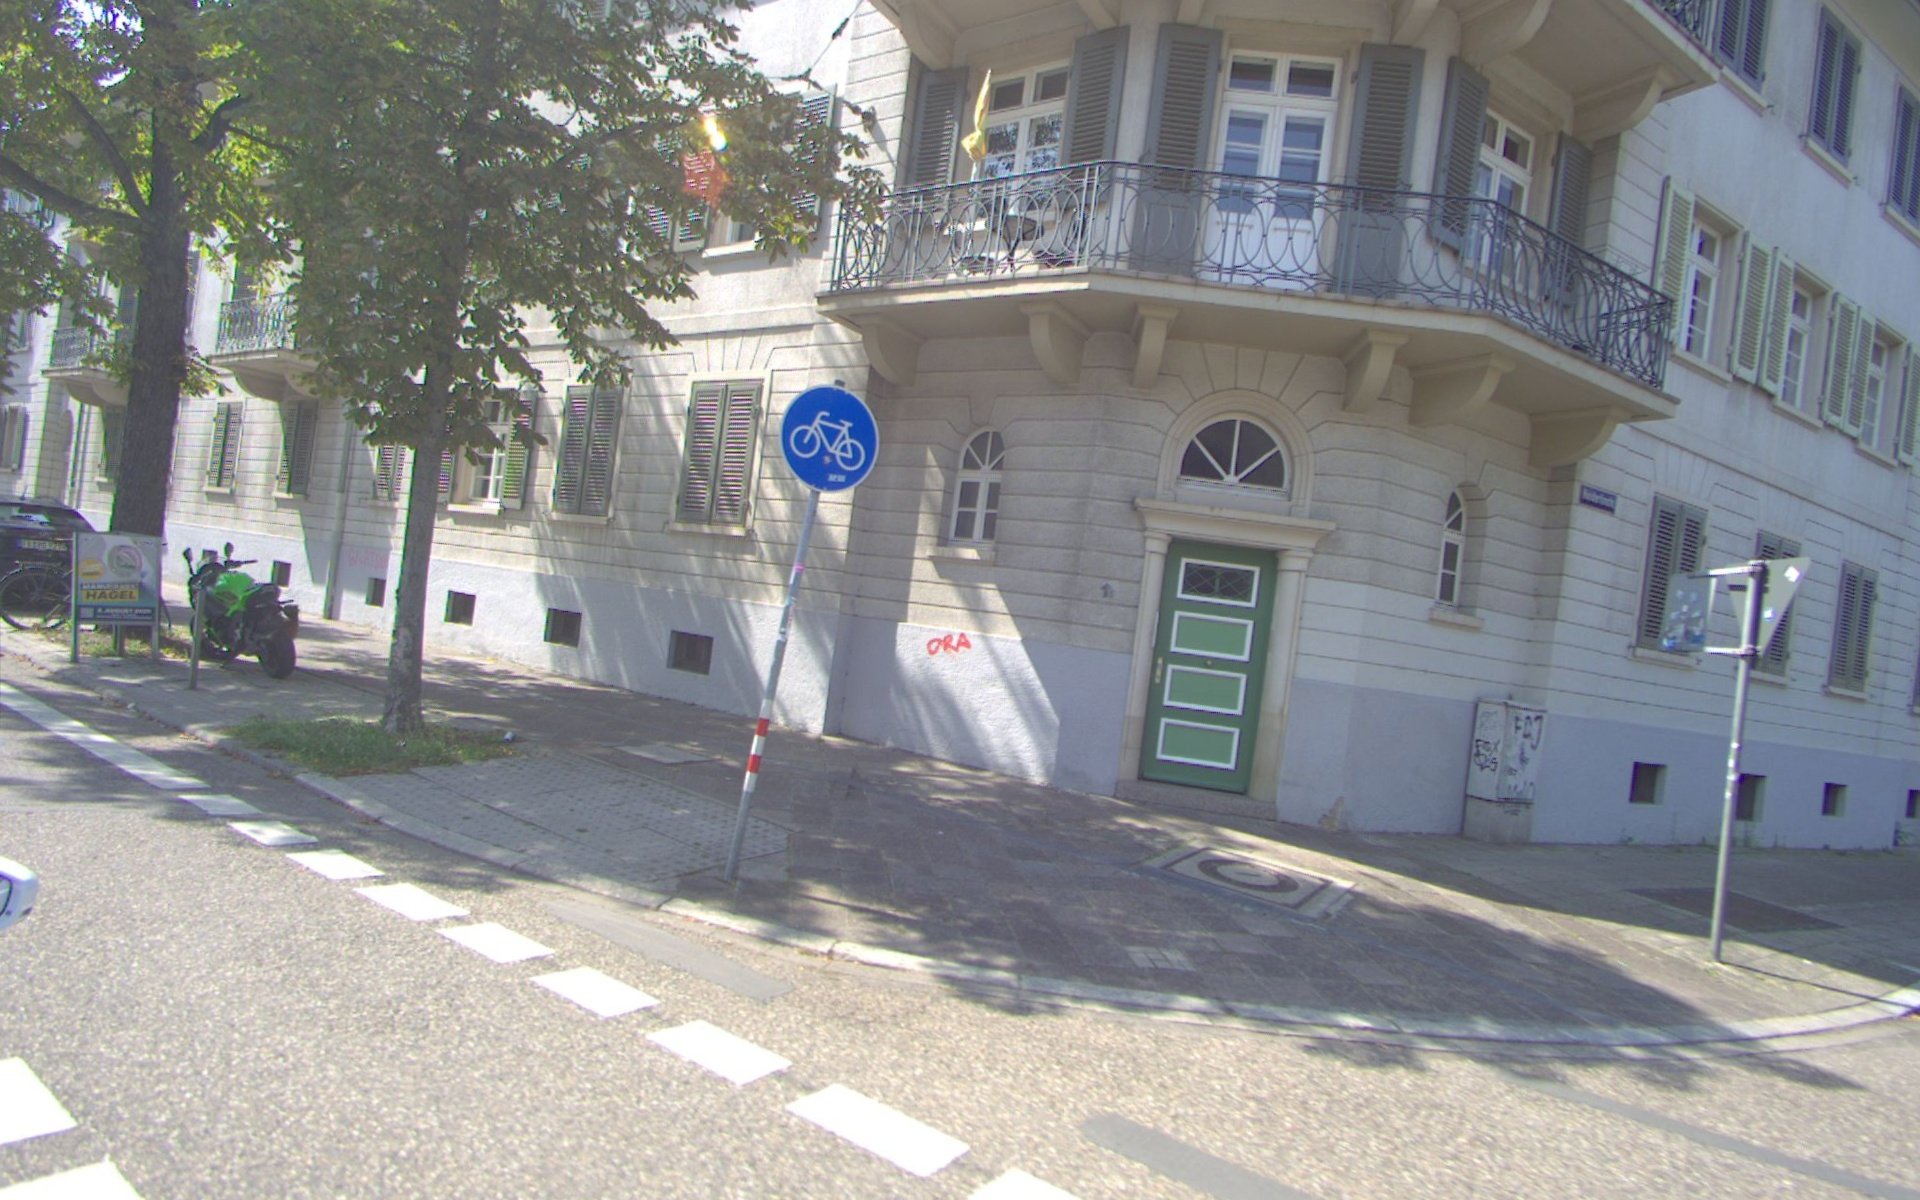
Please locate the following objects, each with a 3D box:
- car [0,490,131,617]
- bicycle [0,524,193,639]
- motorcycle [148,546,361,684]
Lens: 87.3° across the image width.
[{"bbox_3d":[-13.724,-0.807,14.243,4.361,1.525,1.665,7,0,32],"label":"car"},{"bbox_3d":[-10.272,-0.192,11.848,0.645,1.136,1.757,7,-1,33],"label":"bicycle"},{"bbox_3d":[-7.388,0.136,10.496,2.456,1.124,0.828,7,-1,32],"label":"motorcycle"}]
